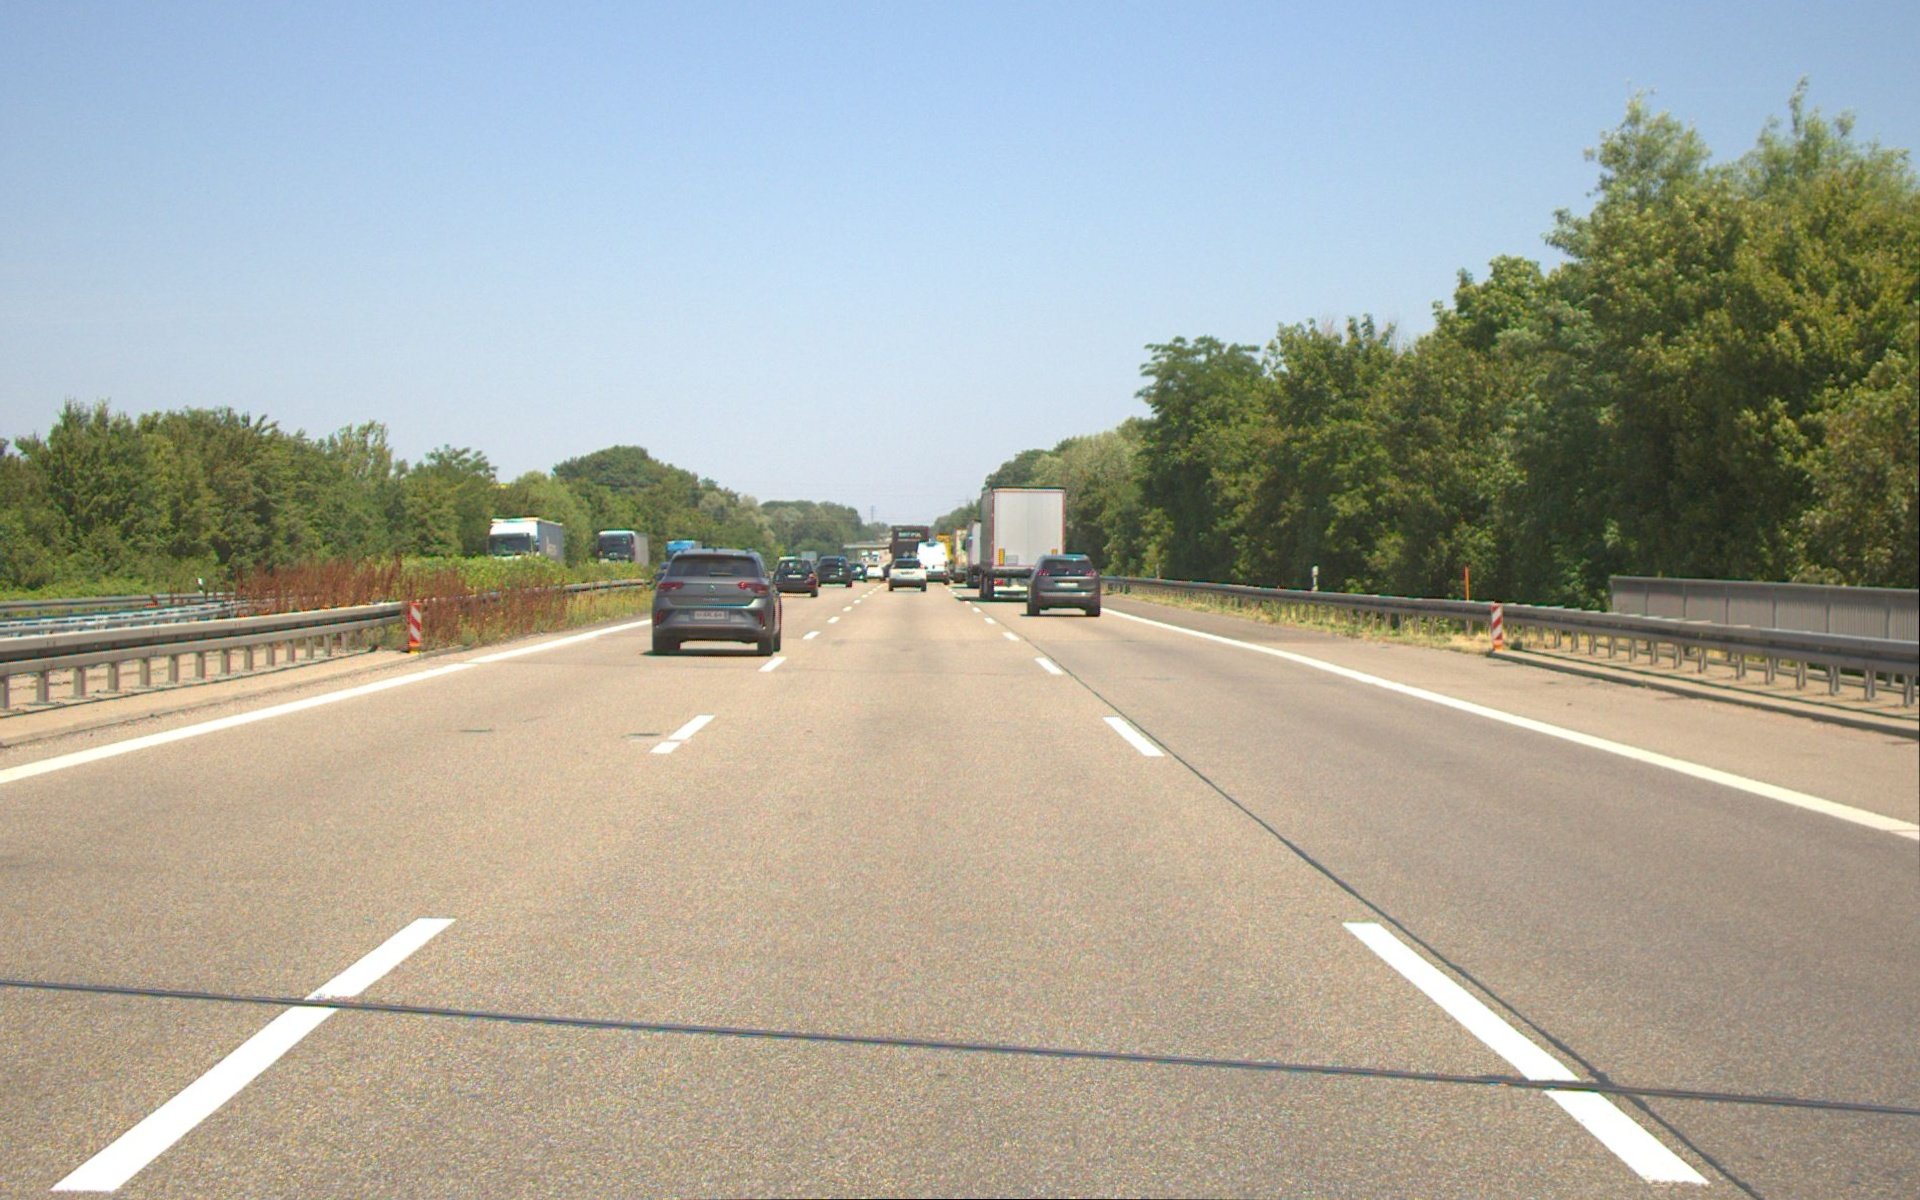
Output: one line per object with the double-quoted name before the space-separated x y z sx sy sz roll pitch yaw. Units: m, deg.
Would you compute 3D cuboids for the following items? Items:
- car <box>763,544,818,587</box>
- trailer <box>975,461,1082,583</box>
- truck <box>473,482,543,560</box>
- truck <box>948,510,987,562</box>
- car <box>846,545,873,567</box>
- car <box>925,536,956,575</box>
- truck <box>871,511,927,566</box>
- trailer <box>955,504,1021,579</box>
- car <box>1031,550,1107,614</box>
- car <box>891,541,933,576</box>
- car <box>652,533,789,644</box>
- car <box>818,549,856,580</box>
"car" -6.362 -1.318 129.525 1.900 1.525 4.084 1 1 -1
"trailer" 2.390 -2.743 125.115 3.434 4.167 13.633 1 0 0
"truck" -24.834 -4.319 189.067 2.916 4.115 6.194 -3 1 -1
"truck" 0.560 -4.670 251.369 2.792 3.713 7.108 1 1 1
"car" -7.421 -3.261 253.398 1.907 1.525 4.286 1 1 -1
"car" -1.231 -2.816 216.993 1.907 2.417 4.286 1 1 -1
"truck" -4.246 -4.338 240.349 3.667 3.713 7.108 1 1 1
"trailer" 1.462 -3.178 185.194 3.122 3.913 9.937 1 1 -2
"car" 2.856 -0.498 90.931 1.845 1.623 4.135 0 1 0
"car" -2.244 -1.962 161.864 1.900 1.525 4.084 1 1 -1
"car" -3.535 -0.199 51.325 1.759 1.525 4.286 1 1 -1
"car" -6.609 -1.913 184.494 1.907 1.525 4.286 1 1 -1
